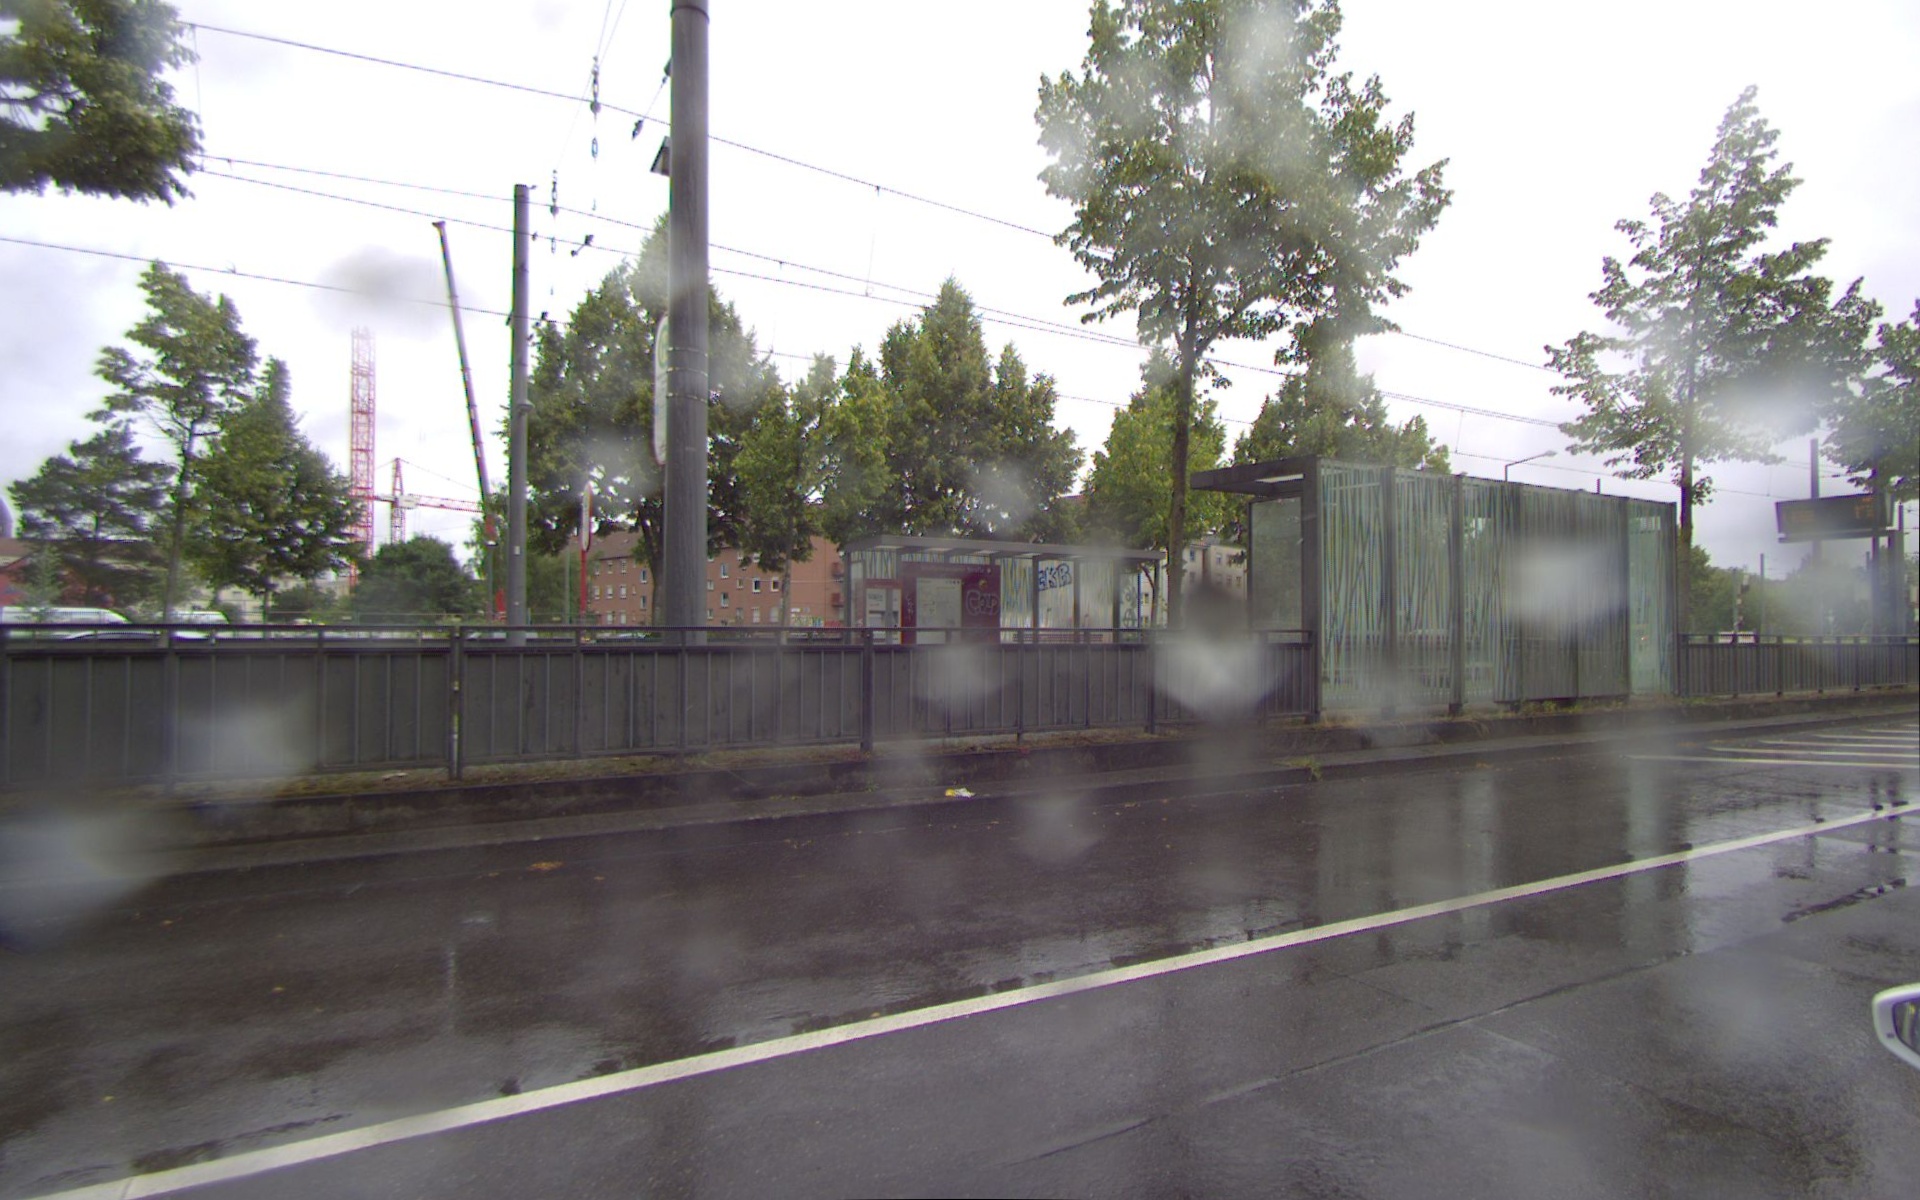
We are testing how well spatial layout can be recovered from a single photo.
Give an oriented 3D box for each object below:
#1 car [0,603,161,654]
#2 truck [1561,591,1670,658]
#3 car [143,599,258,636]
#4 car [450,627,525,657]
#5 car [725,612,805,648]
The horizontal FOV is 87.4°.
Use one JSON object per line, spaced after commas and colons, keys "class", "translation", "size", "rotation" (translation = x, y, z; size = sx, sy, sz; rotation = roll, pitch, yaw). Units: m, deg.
{"class": "car", "translation": [-46.152, 1.525, 52.510], "size": [6.677, 2.495, 1.981], "rotation": [2, 0, -34]}
{"class": "truck", "translation": [41.018, 1.445, 63.278], "size": [2.641, 3.828, 9.187], "rotation": [2, 0, 13]}
{"class": "car", "translation": [-45.684, 1.075, 60.589], "size": [5.365, 2.079, 1.981], "rotation": [2, 0, -34]}
{"class": "car", "translation": [-32.483, 2.890, 69.124], "size": [4.384, 1.902, 1.858], "rotation": [2, 0, -36]}
{"class": "car", "translation": [-14.265, 2.183, 73.582], "size": [5.438, 2.485, 1.981], "rotation": [2, 0, -35]}
